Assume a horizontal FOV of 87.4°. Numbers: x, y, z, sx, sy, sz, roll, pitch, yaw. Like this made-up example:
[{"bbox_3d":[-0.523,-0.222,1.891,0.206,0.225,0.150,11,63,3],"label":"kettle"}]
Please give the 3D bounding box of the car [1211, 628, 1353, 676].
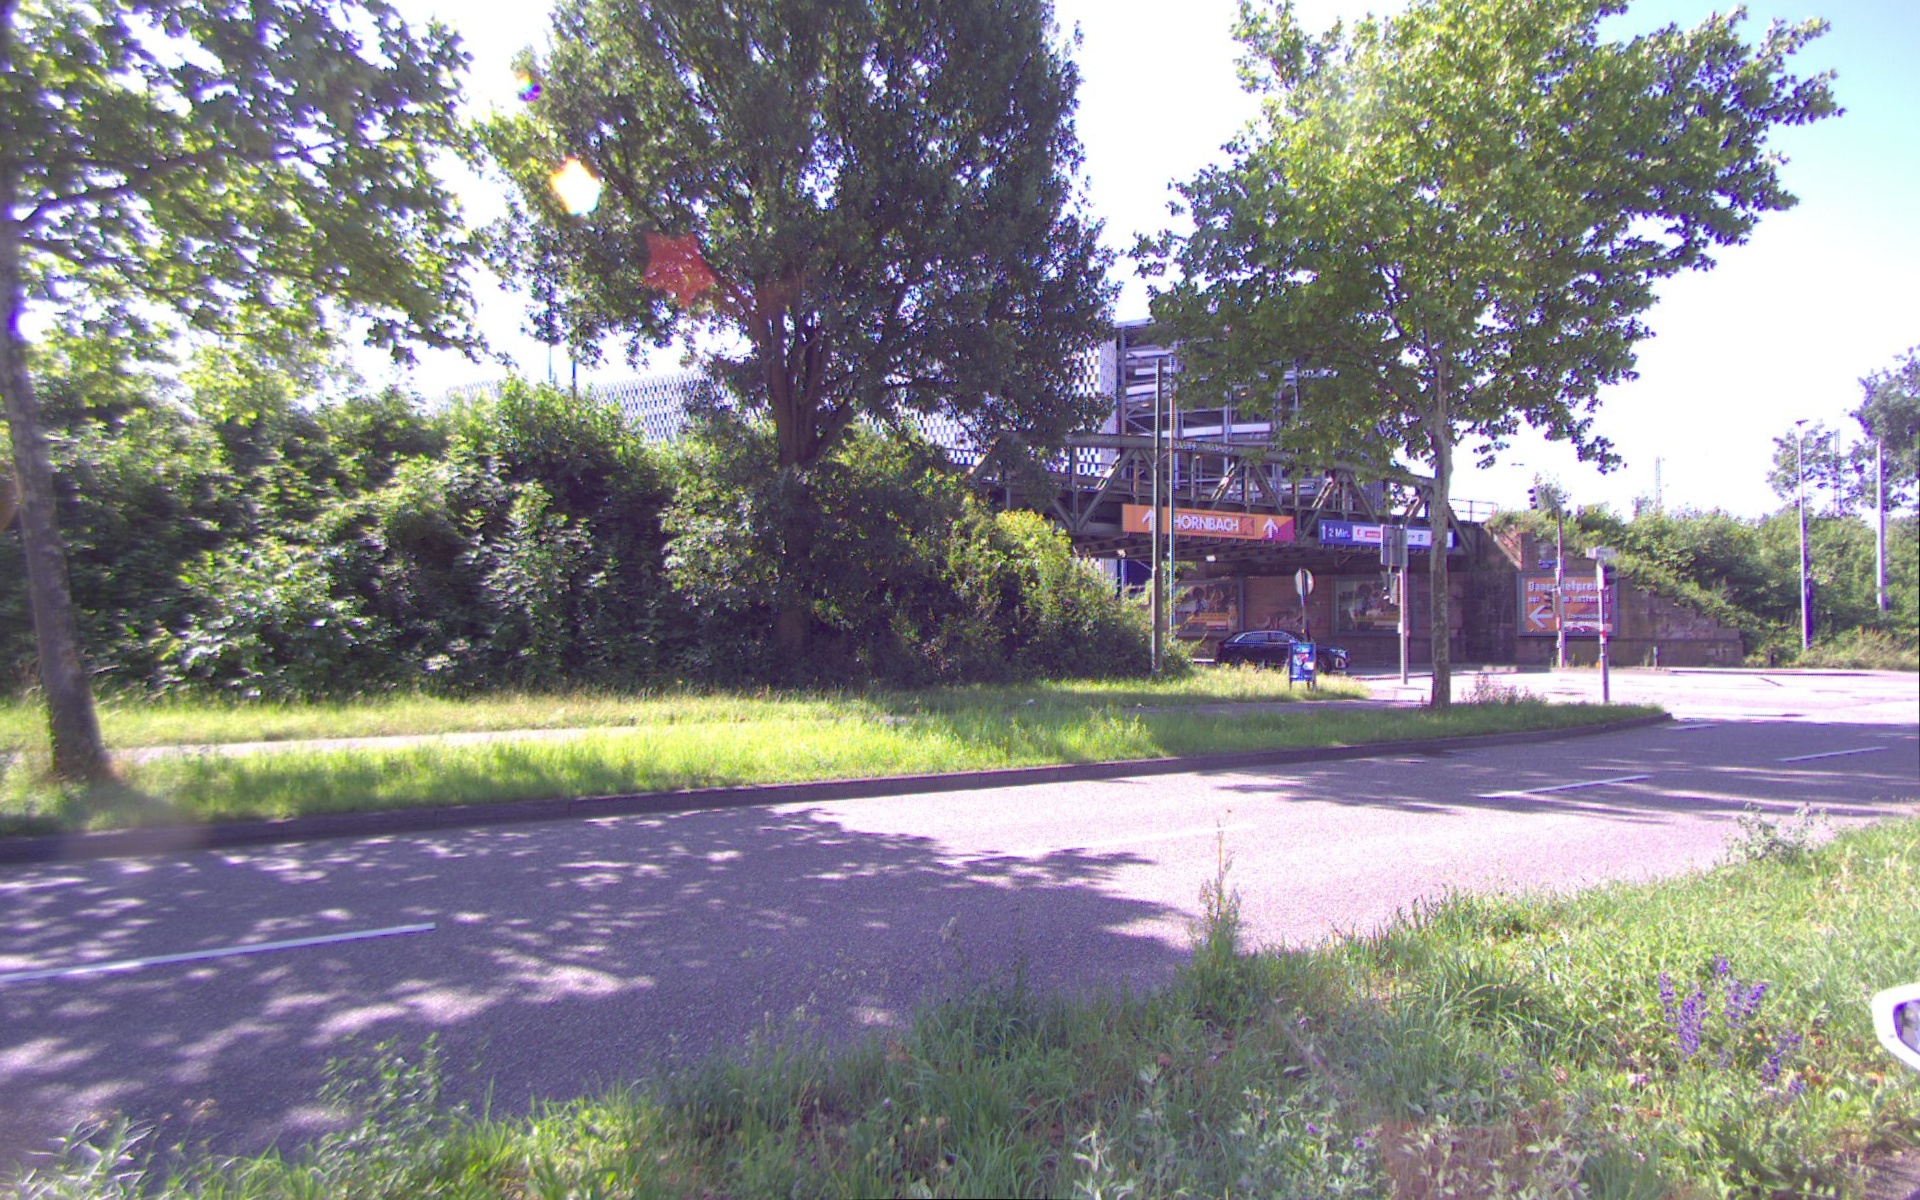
[{"bbox_3d":[12.100,1.917,37.818,4.957,1.617,1.526,1,-1,24],"label":"car"}]
